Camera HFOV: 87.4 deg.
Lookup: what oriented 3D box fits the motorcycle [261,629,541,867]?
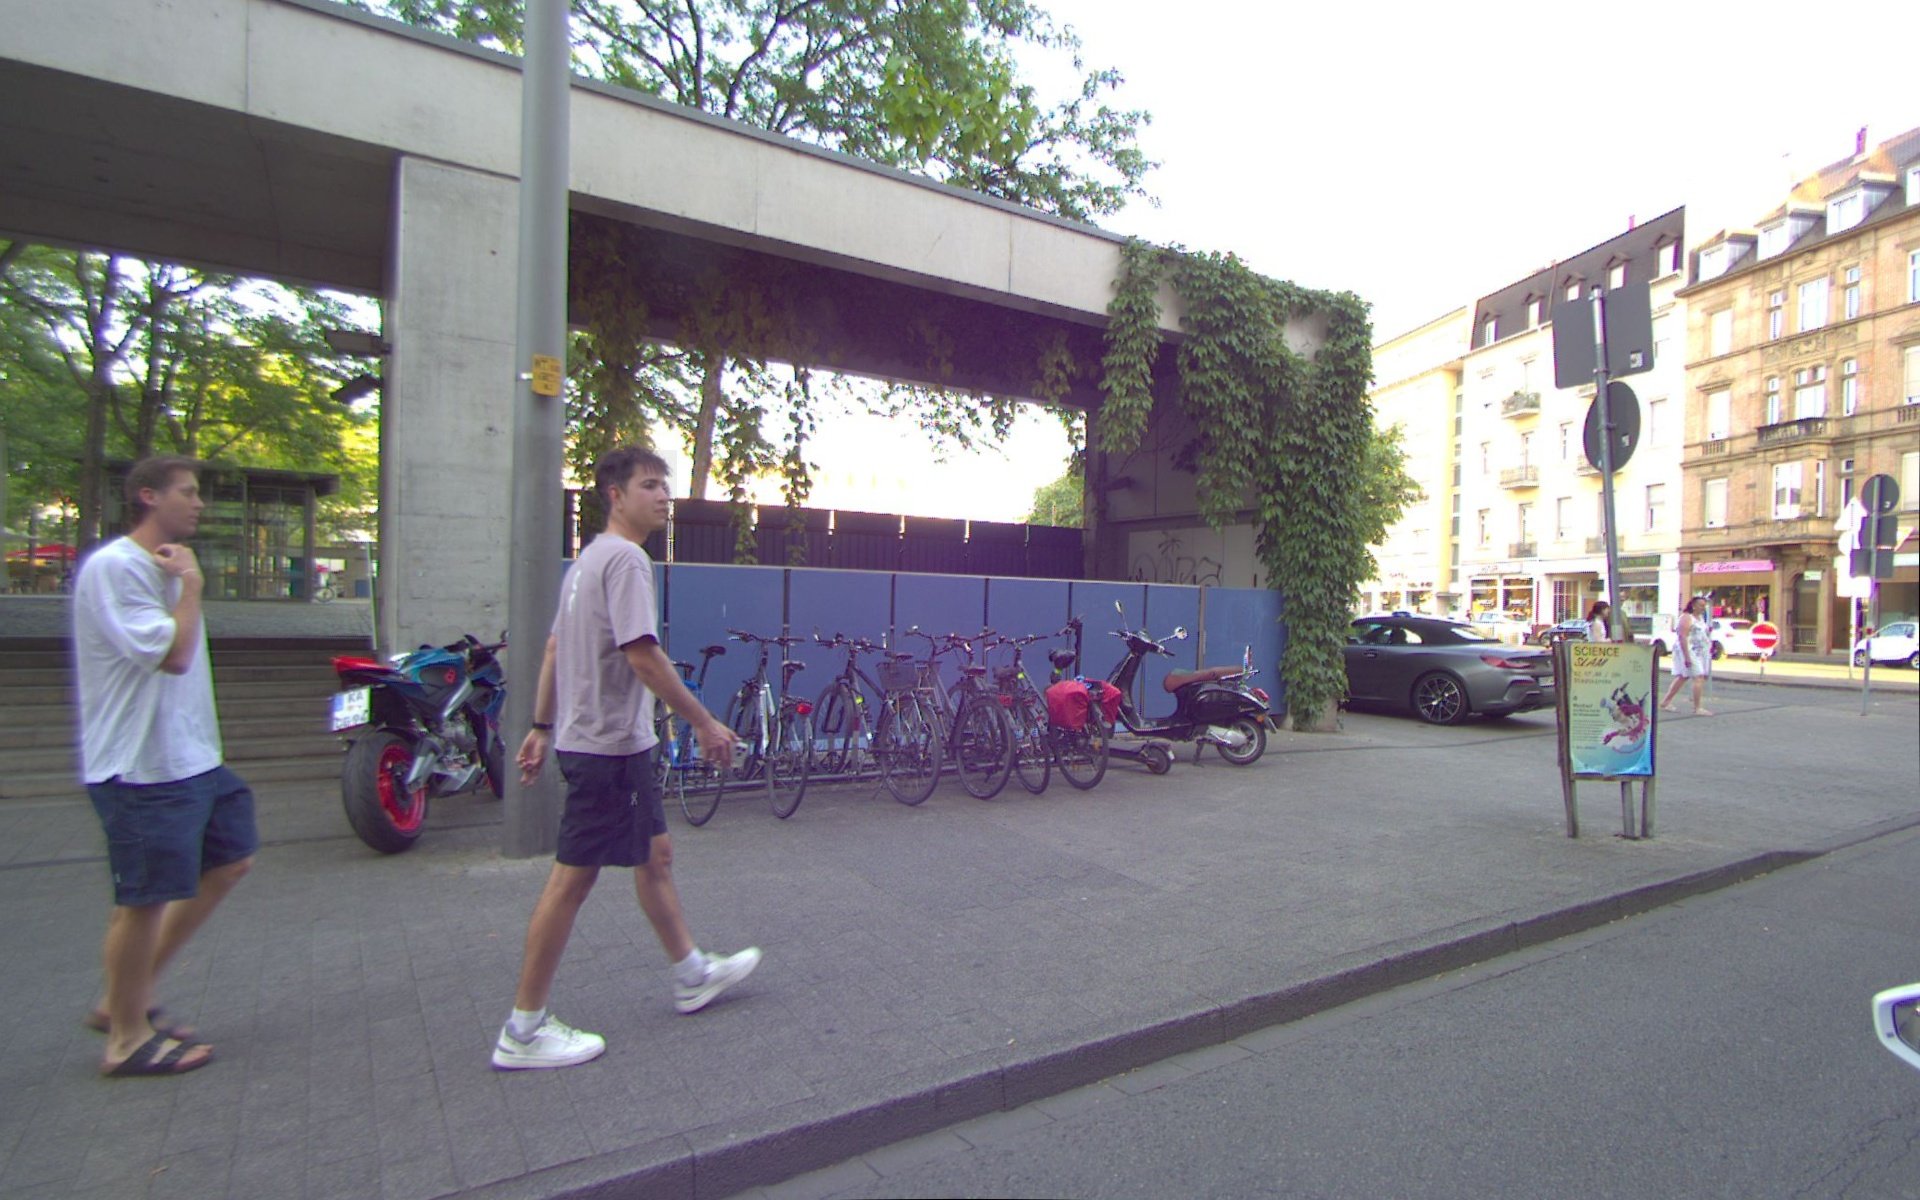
[{"bbox_3d":[-3.117,0.761,5.835,0.750,1.078,1.804,2,1,-6],"label":"motorcycle"}]

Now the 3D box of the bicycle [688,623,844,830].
[{"bbox_3d":[-1.369,0.768,6.816,0.494,1.122,1.786,1,1,-29],"label":"bicycle"}]

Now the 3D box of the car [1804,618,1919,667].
[{"bbox_3d":[31.012,1.393,33.667,1.767,1.530,3.994,2,-1,-9],"label":"car"}]

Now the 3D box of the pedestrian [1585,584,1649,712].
[{"bbox_3d":[10.033,0.723,15.349,0.625,1.907,0.581,1,0,-26],"label":"pedestrian"}]

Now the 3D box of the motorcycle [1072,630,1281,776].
[{"bbox_3d":[1.930,0.879,9.016,1.718,1.116,0.566,3,2,24],"label":"motorcycle"}]

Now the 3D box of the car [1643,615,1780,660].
[{"bbox_3d":[27.040,1.307,36.322,1.847,1.492,3.999,1,0,-2],"label":"car"}]

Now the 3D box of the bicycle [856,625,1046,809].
[{"bbox_3d":[-0.127,0.798,7.539,0.495,1.122,1.783,1,2,-34],"label":"bicycle"}]

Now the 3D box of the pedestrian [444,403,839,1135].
[{"bbox_3d":[-1.032,0.445,3.214,1.038,1.919,0.740,1,2,-31],"label":"pedestrian"}]

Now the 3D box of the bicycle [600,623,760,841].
[{"bbox_3d":[-1.862,0.759,6.497,0.495,1.122,1.784,1,2,-32],"label":"bicycle"}]

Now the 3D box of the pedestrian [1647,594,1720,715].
[{"bbox_3d":[10.917,0.806,15.172,0.644,1.769,0.674,1,0,7],"label":"pedestrian"}]

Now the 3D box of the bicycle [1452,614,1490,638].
[{"bbox_3d":[25.261,1.280,49.692,0.529,1.122,1.793,1,1,-17],"label":"bicycle"}]

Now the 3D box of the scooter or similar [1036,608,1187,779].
[{"bbox_3d":[1.249,0.741,8.431,1.191,1.291,0.419,3,2,43],"label":"scooter or similar"}]

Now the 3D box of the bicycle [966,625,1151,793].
[{"bbox_3d":[0.741,0.812,8.149,0.494,1.122,1.784,1,2,-31],"label":"bicycle"}]

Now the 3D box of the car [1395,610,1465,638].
[{"bbox_3d":[27.221,1.371,58.300,1.767,1.530,3.994,2,-1,-9],"label":"car"}]

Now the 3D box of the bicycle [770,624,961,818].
[{"bbox_3d":[-0.734,0.786,7.197,0.495,1.122,1.781,1,2,-36],"label":"bicycle"}]

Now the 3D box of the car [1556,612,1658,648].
[{"bbox_3d":[29.858,1.342,46.502,1.767,1.530,3.994,2,-1,-9],"label":"car"}]

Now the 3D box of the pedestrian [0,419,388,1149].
[{"bbox_3d":[-2.317,0.464,3.013,0.998,1.837,0.737,1,1,-33],"label":"pedestrian"}]

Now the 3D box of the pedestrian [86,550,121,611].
[{"bbox_3d":[-33.817,-0.767,39.669,0.726,2.362,0.815,1,0,-9],"label":"pedestrian"}]

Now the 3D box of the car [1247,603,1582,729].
[{"bbox_3d":[6.314,0.814,14.295,1.875,1.521,3.954,1,0,-39],"label":"car"}]

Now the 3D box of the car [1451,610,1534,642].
[{"bbox_3d":[27.855,1.335,52.668,1.767,1.530,3.994,2,-1,-9],"label":"car"}]

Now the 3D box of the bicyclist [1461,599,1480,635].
[{"bbox_3d":[25.271,0.835,49.697,0.517,1.780,0.617,1,1,-17],"label":"bicyclist"}]

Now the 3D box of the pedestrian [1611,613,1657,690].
[{"bbox_3d":[12.877,0.983,19.204,0.461,1.428,0.537,2,1,-1],"label":"pedestrian"}]

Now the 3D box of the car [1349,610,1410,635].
[{"bbox_3d":[26.757,1.410,64.203,1.767,1.530,3.994,2,-1,-9],"label":"car"}]

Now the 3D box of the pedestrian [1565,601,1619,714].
[{"bbox_3d":[9.466,0.844,15.047,0.514,1.665,0.498,1,0,-30],"label":"pedestrian"}]
